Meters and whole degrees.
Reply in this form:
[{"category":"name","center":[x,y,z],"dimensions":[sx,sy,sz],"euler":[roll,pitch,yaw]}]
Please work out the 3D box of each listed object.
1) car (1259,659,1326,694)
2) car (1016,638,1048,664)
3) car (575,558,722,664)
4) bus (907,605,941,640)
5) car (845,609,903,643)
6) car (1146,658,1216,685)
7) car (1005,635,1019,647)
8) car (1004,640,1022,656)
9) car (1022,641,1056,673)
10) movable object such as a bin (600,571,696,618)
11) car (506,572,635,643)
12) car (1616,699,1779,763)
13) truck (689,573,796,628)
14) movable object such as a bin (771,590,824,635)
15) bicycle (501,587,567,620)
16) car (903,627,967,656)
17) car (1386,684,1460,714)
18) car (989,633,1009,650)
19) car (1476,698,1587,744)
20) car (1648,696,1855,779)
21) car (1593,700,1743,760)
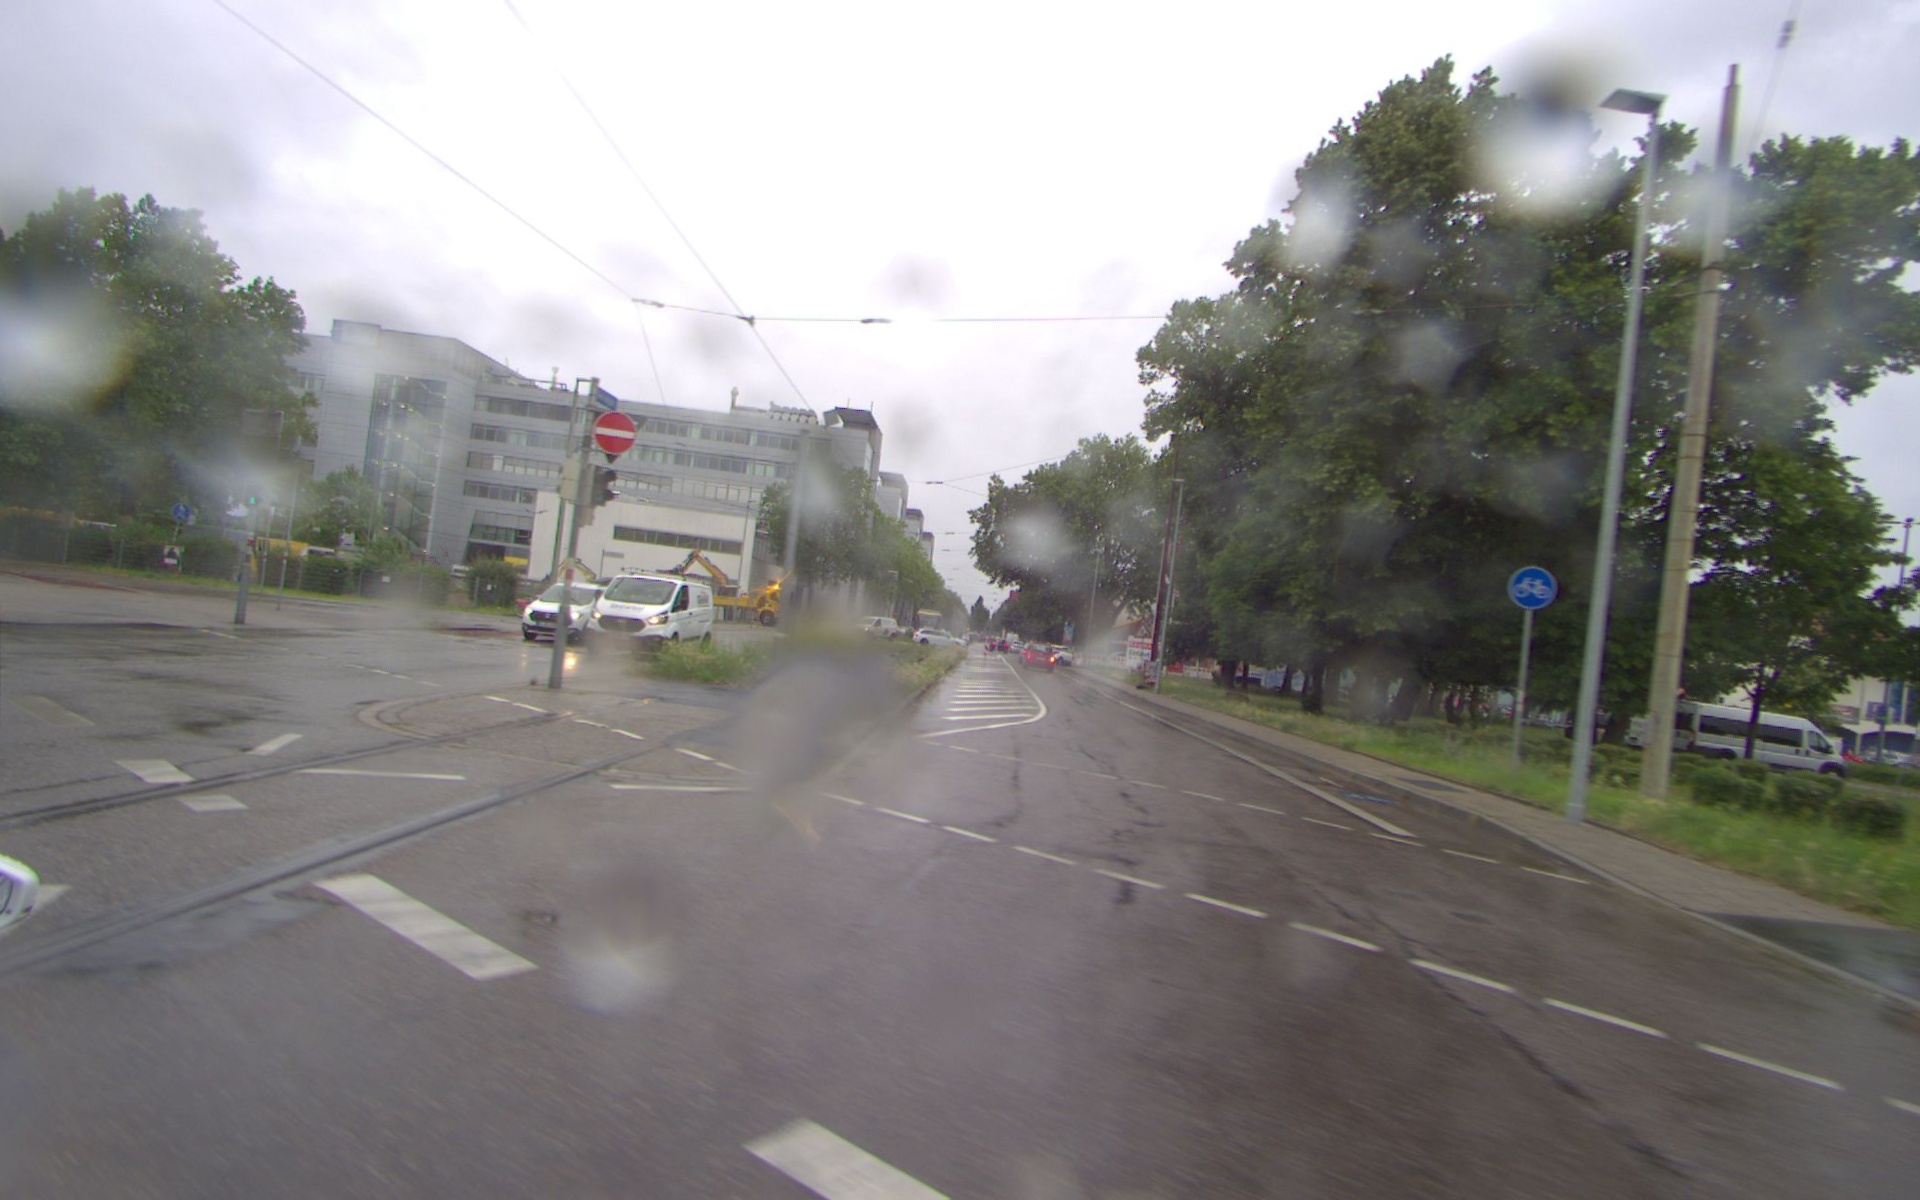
[{"category":"car","center":[27.072,6.195,82.041],"dimensions":[4.668,2.239,1.967],"euler":[6,-1,2]},{"category":"car","center":[4.909,3.483,68.890],"dimensions":[1.891,1.508,4.835],"euler":[7,-2,3]},{"category":"car","center":[-7.460,0.338,24.672],"dimensions":[1.963,2.150,4.692],"euler":[7,-2,0]},{"category":"bus","center":[-3.635,2.216,99.578],"dimensions":[2.484,3.071,8.526],"euler":[6,-2,-6]},{"category":"car","center":[-7.002,2.164,82.336],"dimensions":[1.966,2.034,5.367],"euler":[6,-5,28]},{"category":"car","center":[20.387,6.556,93.095],"dimensions":[5.850,1.752,2.279],"euler":[7,-1,2]},{"category":"car","center":[7.614,6.033,148.304],"dimensions":[1.891,1.508,4.835],"euler":[7,-2,3]},{"category":"car","center":[6.104,5.496,115.451],"dimensions":[1.891,1.508,4.835],"euler":[7,-2,3]},{"category":"car","center":[4.371,3.160,55.811],"dimensions":[1.646,1.507,3.823],"euler":[7,-3,5]},{"category":"movable object such as a bin","center":[-25.675,-0.419,82.949],"dimensions":[6.597,3.031,3.330],"euler":[7,-1,0]},{"category":"car","center":[-10.860,0.279,28.397],"dimensions":[1.743,1.640,4.385],"euler":[7,-2,0]},{"category":"car","center":[30.446,5.380,41.645],"dimensions":[4.940,1.858,2.193],"euler":[7,-1,2]},{"category":"truck","center":[-17.765,0.078,82.621],"dimensions":[7.742,3.549,3.330],"euler":[7,-1,1]},{"category":"movable object such as a bin","center":[-14.610,1.207,91.186],"dimensions":[3.266,3.548,6.325],"euler":[7,-1,2]},{"category":"bicycle","center":[-17.428,0.157,41.154],"dimensions":[2.292,1.058,0.841],"euler":[8,-2,-34]},{"category":"car","center":[-2.016,3.430,82.798],"dimensions":[4.964,1.672,1.885],"euler":[7,-4,5]},{"category":"car","center":[37.635,8.072,81.877],"dimensions":[4.940,1.752,1.967],"euler":[6,-1,2]},{"category":"car","center":[4.050,4.324,103.502],"dimensions":[1.891,1.508,4.835],"euler":[7,-2,3]},{"category":"car","center":[32.753,6.893,57.741],"dimensions":[4.940,1.858,2.193],"euler":[7,-1,2]},{"category":"car","center":[30.275,5.216,38.641],"dimensions":[5.952,2.230,2.193],"euler":[7,-1,2]},{"category":"car","center":[31.476,5.745,44.852],"dimensions":[4.940,1.858,2.193],"euler":[7,-1,2]}]
